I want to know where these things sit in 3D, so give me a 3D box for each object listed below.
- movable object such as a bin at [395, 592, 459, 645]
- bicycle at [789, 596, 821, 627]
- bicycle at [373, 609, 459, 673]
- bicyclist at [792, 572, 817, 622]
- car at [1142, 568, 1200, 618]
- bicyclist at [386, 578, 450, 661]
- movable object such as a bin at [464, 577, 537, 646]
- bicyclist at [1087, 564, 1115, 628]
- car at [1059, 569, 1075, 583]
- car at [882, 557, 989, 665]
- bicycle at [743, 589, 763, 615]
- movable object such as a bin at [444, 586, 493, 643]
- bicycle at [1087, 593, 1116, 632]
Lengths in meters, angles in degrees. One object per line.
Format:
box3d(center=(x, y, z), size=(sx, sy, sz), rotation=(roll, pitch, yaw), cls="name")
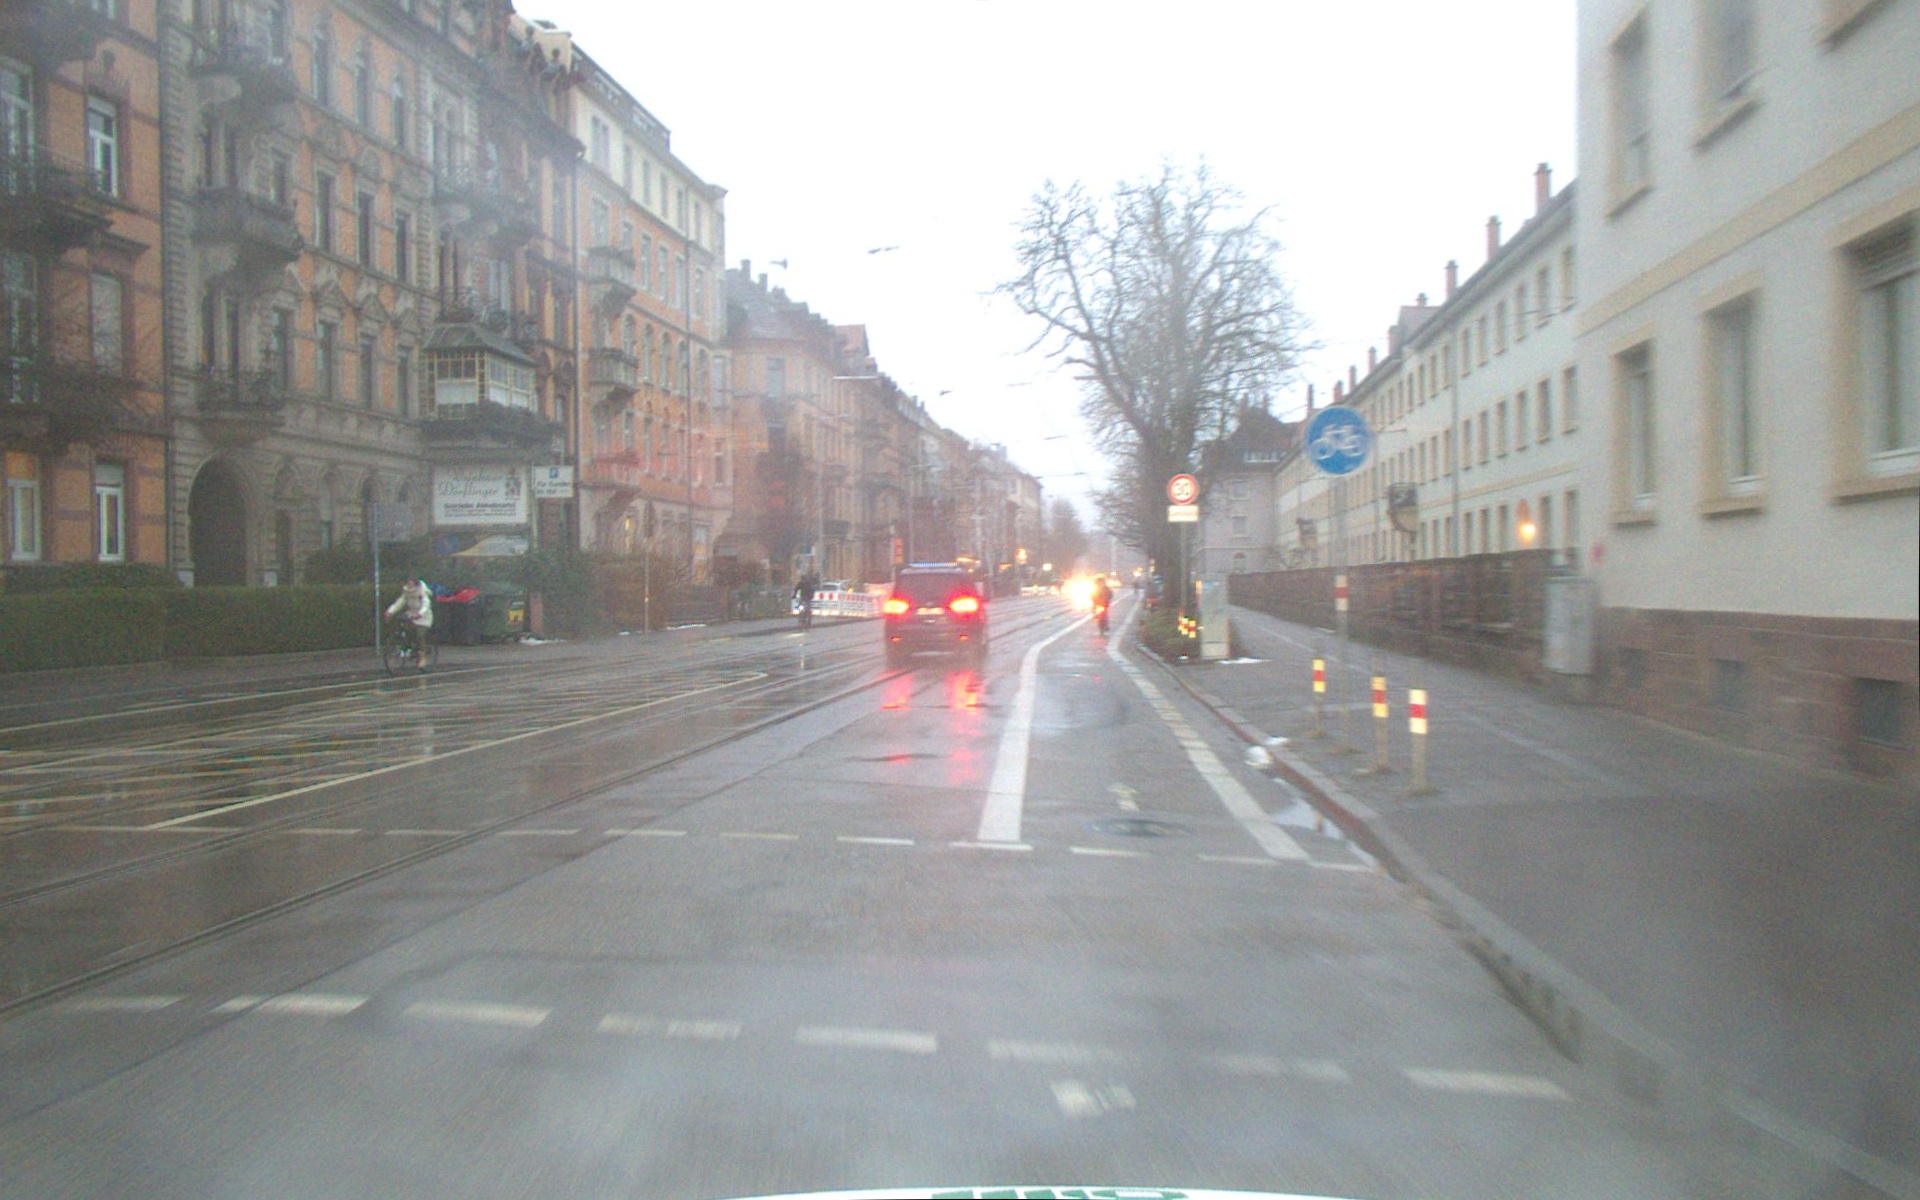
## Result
box3d(center=(-12.643, 0.430, 39.238), size=(1.160, 1.228, 0.946), rotation=(0, 1, 4), cls="movable object such as a bin")
box3d(center=(-5.171, 0.375, 55.278), size=(0.664, 0.989, 1.935), rotation=(-1, 1, 8), cls="bicycle")
box3d(center=(-9.307, 0.691, 28.374), size=(0.667, 1.024, 1.804), rotation=(-1, 1, 8), cls="bicycle")
box3d(center=(-5.182, -0.104, 55.090), size=(0.669, 1.644, 0.766), rotation=(-1, 1, 8), cls="bicyclist")
box3d(center=(6.797, -0.264, 53.577), size=(1.747, 1.536, 3.991), rotation=(-1, 1, 6), cls="car")
box3d(center=(-9.302, 0.323, 28.401), size=(0.689, 1.387, 0.945), rotation=(1, 1, 8), cls="bicyclist")
box3d(center=(-11.056, 0.268, 39.860), size=(1.217, 1.613, 1.309), rotation=(0, 1, 11), cls="movable object such as a bin")
box3d(center=(3.969, -0.126, 46.452), size=(0.715, 1.767, 0.766), rotation=(-1, 1, 8), cls="bicyclist")
box3d(center=(14.278, -3.236, 220.731), size=(1.883, 1.750, 4.003), rotation=(-1, 1, 7), cls="car")
box3d(center=(-0.413, 0.154, 32.043), size=(1.764, 1.903, 4.020), rotation=(2, 1, 3), cls="car")
box3d(center=(-7.776, 0.058, 62.154), size=(0.257, 0.931, 1.687), rotation=(5, 2, 6), cls="bicycle")
box3d(center=(-11.602, 0.346, 39.038), size=(0.876, 1.315, 0.747), rotation=(0, 1, 4), cls="movable object such as a bin")
box3d(center=(3.984, 0.342, 46.505), size=(0.716, 1.024, 1.765), rotation=(-1, 1, 8), cls="bicycle")
